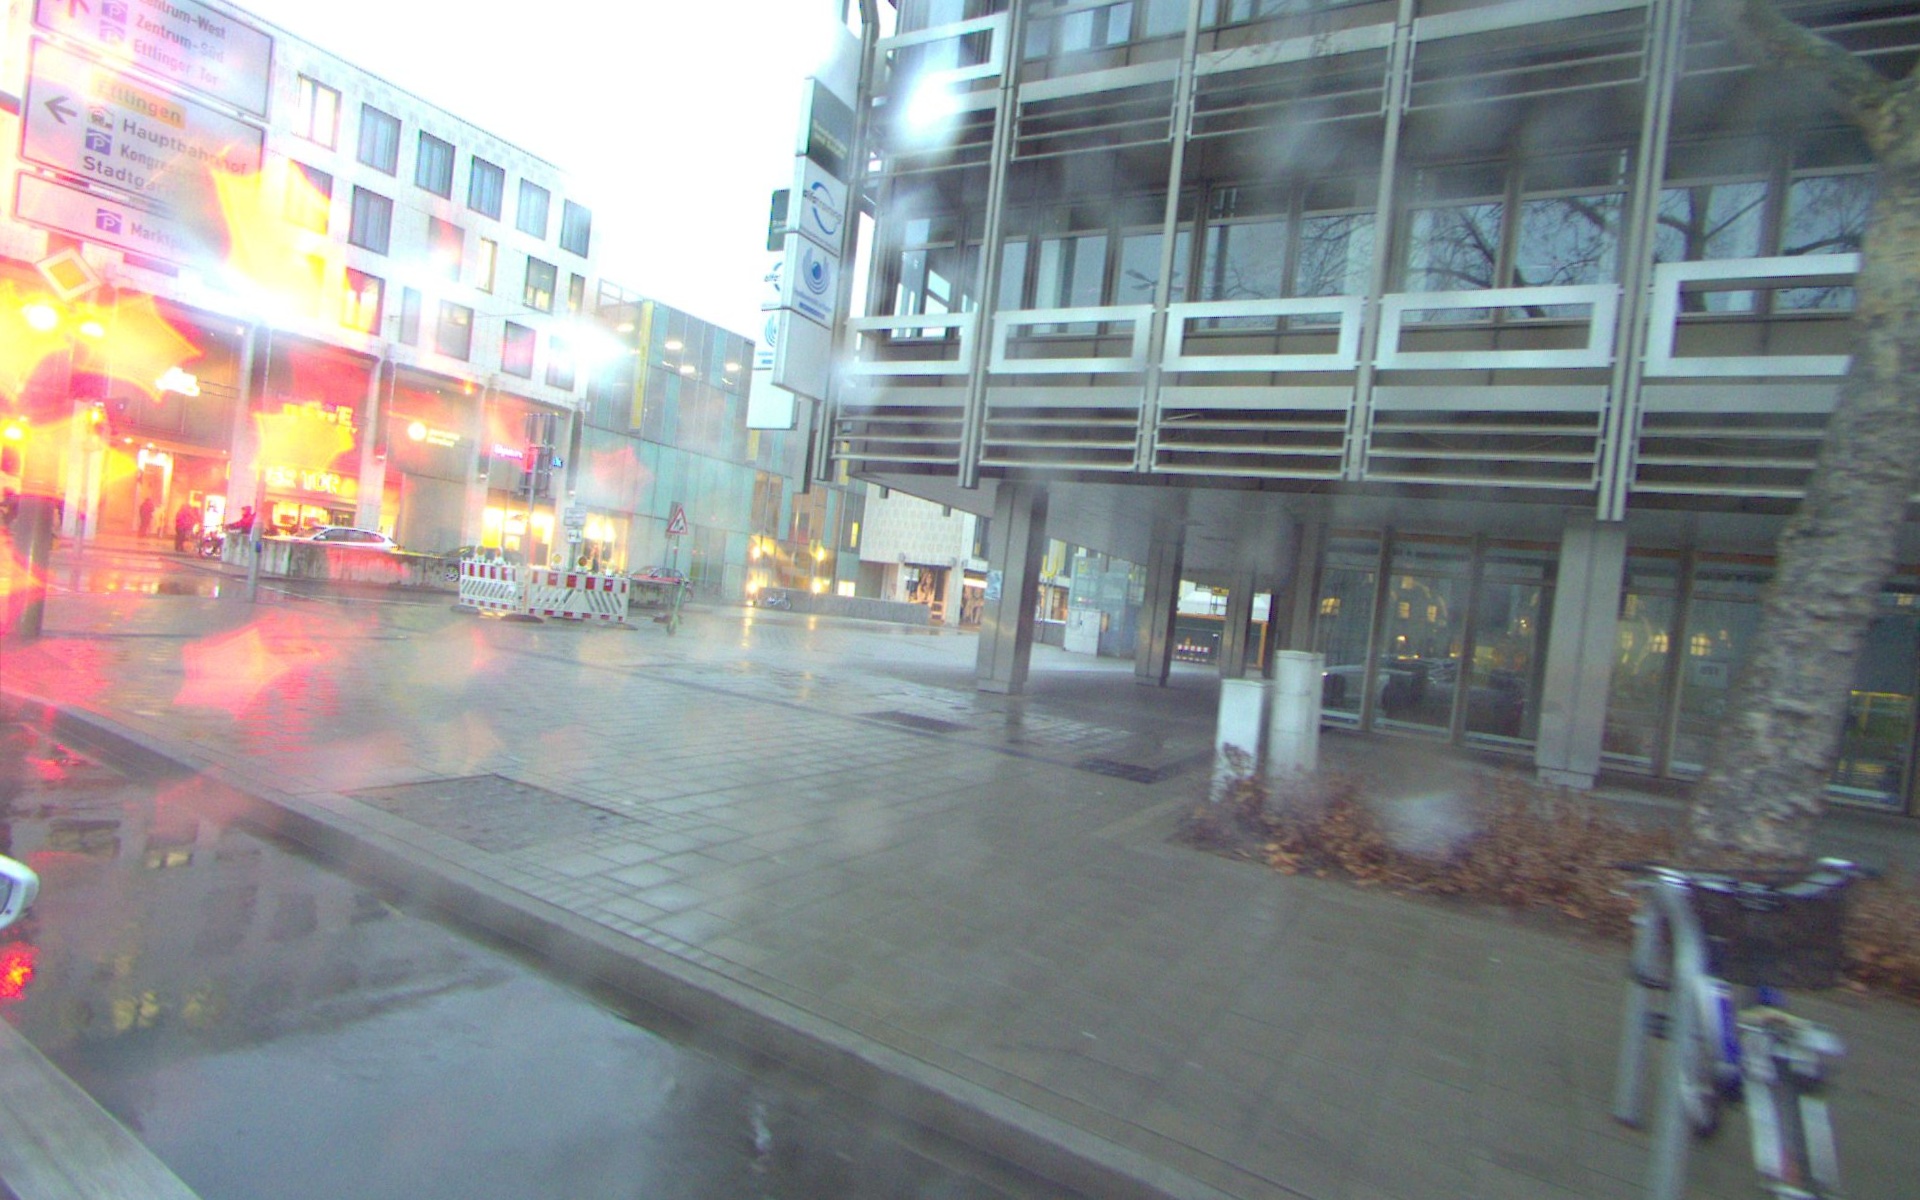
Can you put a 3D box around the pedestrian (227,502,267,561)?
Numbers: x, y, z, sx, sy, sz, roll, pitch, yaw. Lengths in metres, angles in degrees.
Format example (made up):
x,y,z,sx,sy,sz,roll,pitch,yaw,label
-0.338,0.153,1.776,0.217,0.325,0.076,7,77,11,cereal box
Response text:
x,y,z,sx,sy,sz,roll,pitch,yaw,label
-21.150,-2.029,29.839,0.778,1.615,0.605,6,1,-43,pedestrian

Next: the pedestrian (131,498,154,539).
x,y,z,sx,sy,sz,roll,pitch,yaw,label
-36.519,-3.625,44.944,0.529,1.739,0.500,6,1,-21,pedestrian

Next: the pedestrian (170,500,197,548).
x,y,z,sx,sy,sz,roll,pitch,yaw,label
-28.576,-2.793,37.024,0.529,1.706,0.546,6,1,-21,pedestrian

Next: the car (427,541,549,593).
x,y,z,sx,sy,sz,roll,pitch,yaw,label
-18.523,-1.265,39.642,1.648,1.601,4.056,6,0,29,car

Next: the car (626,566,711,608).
x,y,z,sx,sy,sz,roll,pitch,yaw,label
-13.607,-0.572,47.147,1.648,1.602,3.574,6,0,29,car

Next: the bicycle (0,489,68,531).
x,y,z,sx,sy,sz,roll,pitch,yaw,label
-36.827,-3.561,39.579,0.623,1.345,2.431,7,0,27,bicycle

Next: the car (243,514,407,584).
x,y,z,sx,sy,sz,roll,pitch,yaw,label
-21.533,-1.708,34.268,1.680,1.783,4.304,7,0,34,car

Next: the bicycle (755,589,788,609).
x,y,z,sx,sy,sz,roll,pitch,yaw,label
-11.757,-0.071,62.678,2.101,1.046,0.616,6,1,33,bicycle

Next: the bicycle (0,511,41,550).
x,y,z,sx,sy,sz,roll,pitch,yaw,label
-28.617,-2.150,29.648,0.533,1.003,2.129,6,-2,37,bicycle

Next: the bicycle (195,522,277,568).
x,y,z,sx,sy,sz,roll,pitch,yaw,label
-21.357,-1.613,29.699,1.839,1.107,0.610,7,0,-44,bicycle

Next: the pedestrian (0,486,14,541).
x,y,z,sx,sy,sz,roll,pitch,yaw,label
-28.563,-2.598,29.650,0.528,1.590,0.814,7,1,37,pedestrian

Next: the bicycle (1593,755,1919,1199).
x,y,z,sx,sy,sz,roll,pitch,yaw,label
2.249,1.152,2.912,0.428,1.163,1.753,7,2,27,bicycle

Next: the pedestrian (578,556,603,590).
x,y,z,sx,sy,sz,roll,pitch,yaw,label
-19.309,-1.404,52.544,0.697,1.650,0.795,6,-1,32,pedestrian

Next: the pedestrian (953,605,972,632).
x,y,z,sx,sy,sz,roll,pitch,yaw,label
0.217,1.484,81.317,1.006,2.037,0.906,6,-1,32,pedestrian

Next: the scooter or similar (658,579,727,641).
x,y,z,sx,sy,sz,roll,pitch,yaw,label
-5.553,0.202,20.880,1.215,1.144,0.606,7,1,32,scooter or similar
